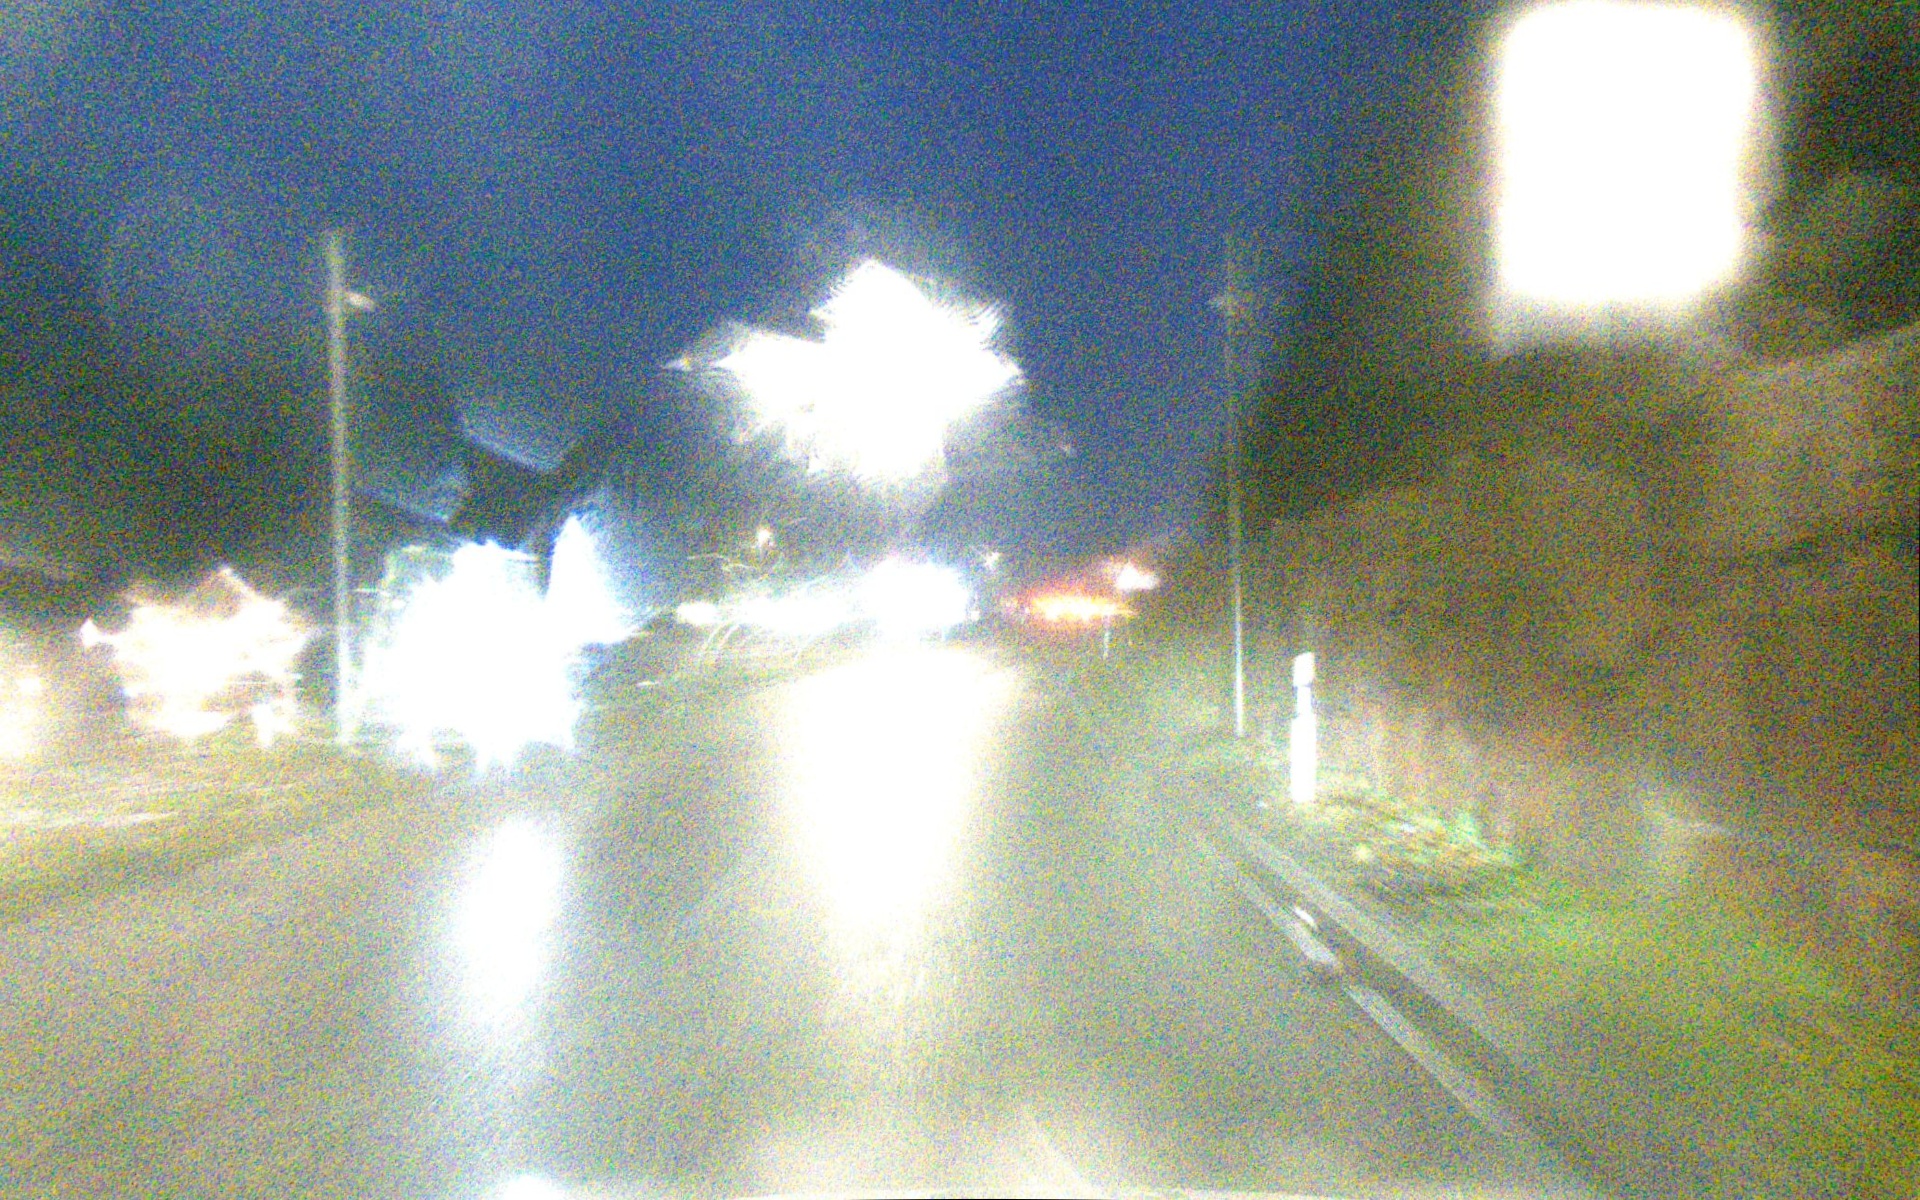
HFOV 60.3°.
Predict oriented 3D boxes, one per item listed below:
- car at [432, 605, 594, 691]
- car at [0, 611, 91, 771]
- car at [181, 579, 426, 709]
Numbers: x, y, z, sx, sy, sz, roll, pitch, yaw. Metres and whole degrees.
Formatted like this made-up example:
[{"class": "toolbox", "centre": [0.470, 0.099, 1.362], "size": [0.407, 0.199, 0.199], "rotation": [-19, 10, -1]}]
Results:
[{"class": "car", "centre": [-8.723, 0.940, 32.696], "size": [1.672, 1.561, 4.602], "rotation": [0, -1, 4]}, {"class": "car", "centre": [-10.097, 0.878, 15.733], "size": [1.552, 1.552, 3.653], "rotation": [0, -1, 3]}, {"class": "car", "centre": [-9.494, 0.633, 24.294], "size": [1.681, 1.733, 4.145], "rotation": [0, -1, 4]}]
